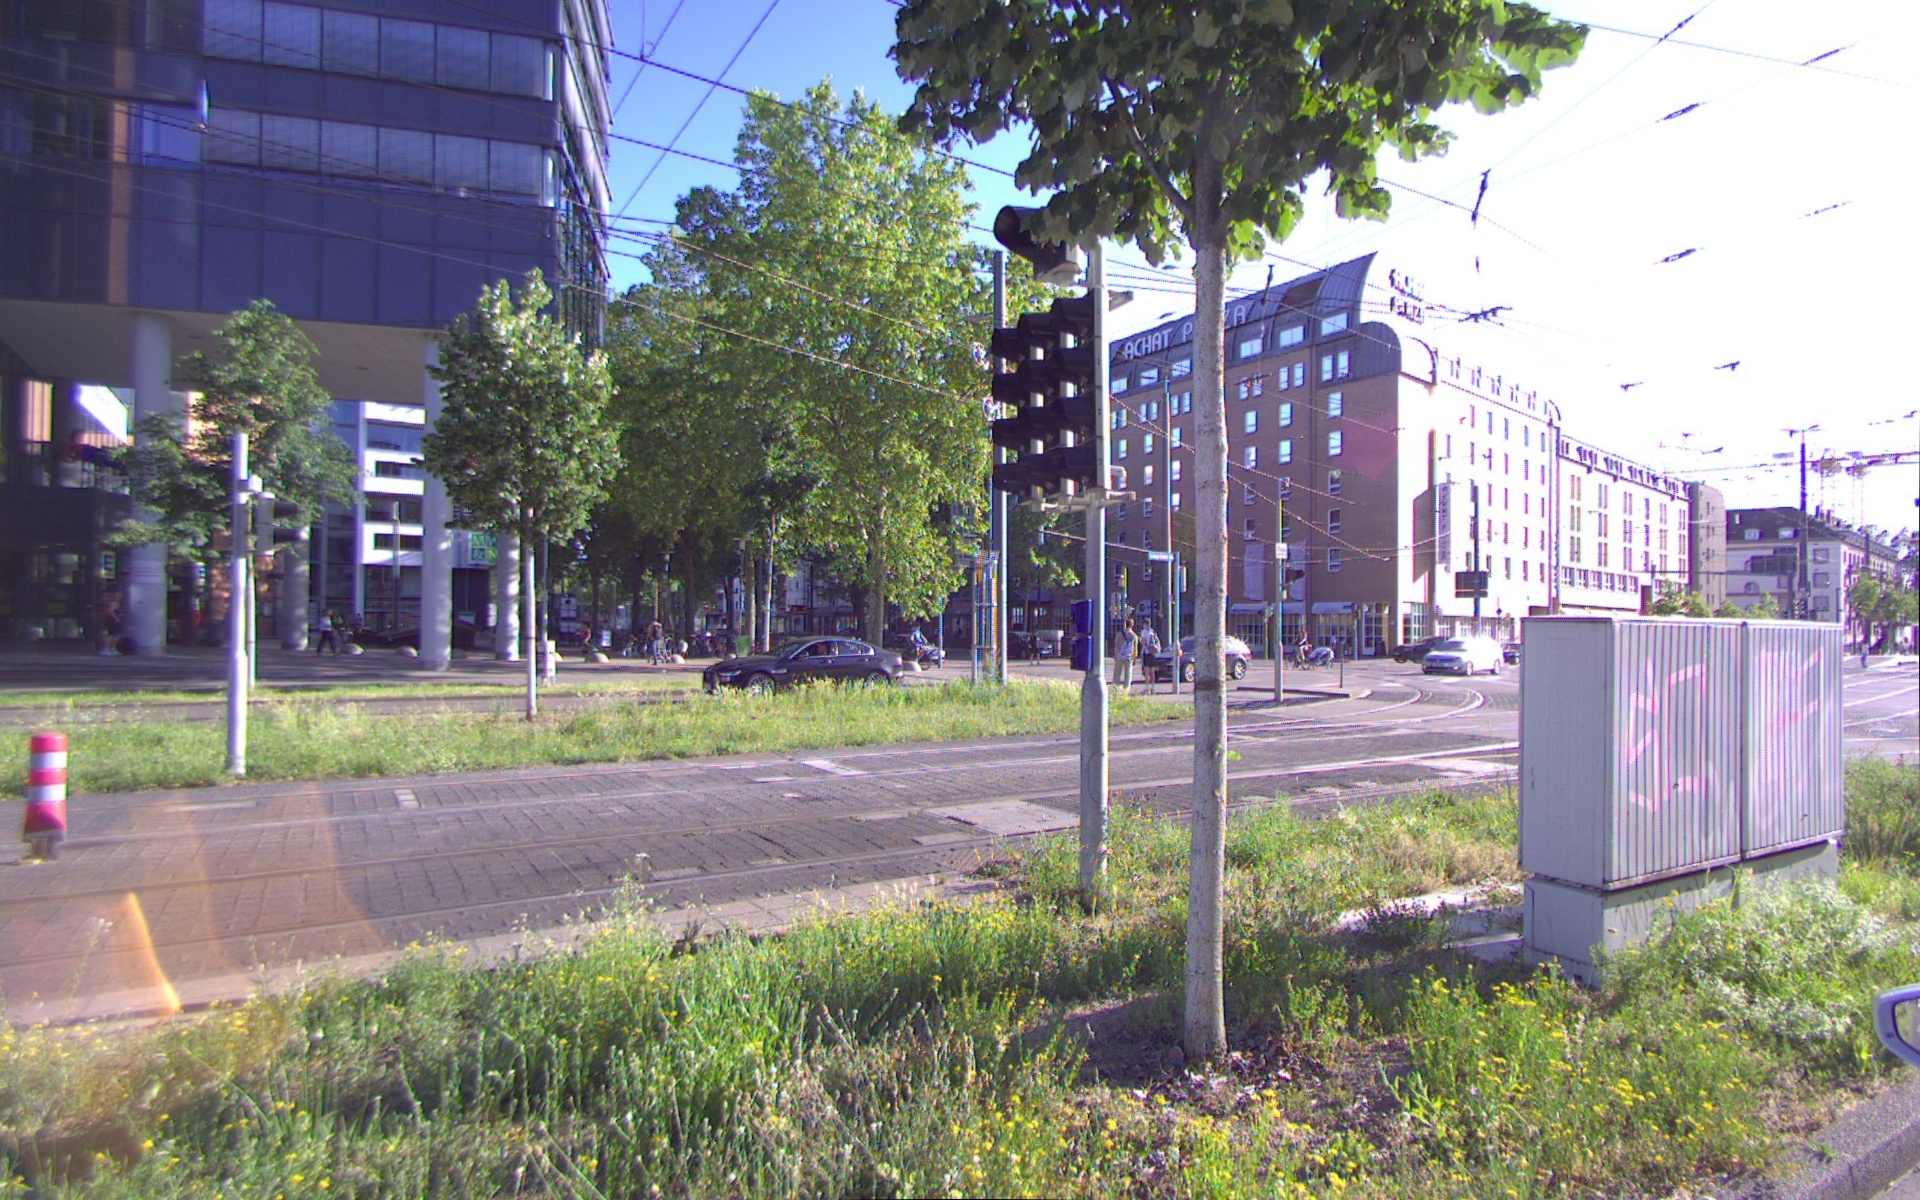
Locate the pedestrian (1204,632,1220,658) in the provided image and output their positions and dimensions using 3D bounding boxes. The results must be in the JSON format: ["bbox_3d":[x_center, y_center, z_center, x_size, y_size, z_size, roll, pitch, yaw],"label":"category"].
[{"bbox_3d":[14.909,2.629,59.318,0.672,1.523,0.651,2,-1,-39],"label":"pedestrian"}]

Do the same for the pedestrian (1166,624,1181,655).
[{"bbox_3d":[13.909,2.558,65.536,0.669,2.040,0.663,1,-1,-29],"label":"pedestrian"}]

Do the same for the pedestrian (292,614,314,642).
[{"bbox_3d":[-36.138,1.523,55.222,0.647,1.500,1.053,1,0,-13],"label":"pedestrian"}]

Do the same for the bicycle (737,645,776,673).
[{"bbox_3d":[-7.493,2.150,36.900,0.538,0.964,1.748,2,-2,-44],"label":"bicycle"}]

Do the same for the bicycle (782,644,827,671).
[{"bbox_3d":[-5.725,2.100,36.890,1.742,0.964,0.540,0,-1,34],"label":"bicycle"}]

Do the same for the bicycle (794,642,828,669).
[{"bbox_3d":[-5.673,2.111,38.198,0.536,0.964,1.753,2,-2,-36],"label":"bicycle"}]

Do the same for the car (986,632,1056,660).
[{"bbox_3d":[3.331,2.519,55.152,1.743,1.439,3.960,2,-2,-35],"label":"car"}]

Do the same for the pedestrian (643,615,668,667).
[{"bbox_3d":[-12.227,1.642,40.368,0.826,2.040,0.730,1,0,-25],"label":"pedestrian"}]

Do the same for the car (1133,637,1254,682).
[{"bbox_3d":[7.921,1.996,33.996,4.104,1.440,1.711,2,-4,-36],"label":"car"}]

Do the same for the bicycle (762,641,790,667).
[{"bbox_3d":[-7.036,2.056,38.462,0.530,0.964,1.772,1,-1,7],"label":"bicycle"}]

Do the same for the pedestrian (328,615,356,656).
[{"bbox_3d":[-26.857,1.539,43.671,0.794,1.730,0.789,1,0,-13],"label":"pedestrian"}]

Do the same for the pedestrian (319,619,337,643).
[{"bbox_3d":[-35.505,1.747,56.437,0.651,1.294,0.636,1,0,-13],"label":"pedestrian"}]

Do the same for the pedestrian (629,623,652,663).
[{"bbox_3d":[-13.460,1.797,42.345,0.826,1.667,0.730,1,-1,-25],"label":"pedestrian"}]

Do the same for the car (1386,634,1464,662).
[{"bbox_3d":[28.004,2.855,60.591,1.748,1.570,3.948,2,-2,-44],"label":"car"}]

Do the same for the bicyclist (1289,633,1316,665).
[{"bbox_3d":[15.202,2.181,44.614,0.942,1.393,0.752,2,-1,-37],"label":"bicyclist"}]

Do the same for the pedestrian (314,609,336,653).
[{"bbox_3d":[-21.848,1.072,34.568,0.566,1.500,0.450,1,0,-30],"label":"pedestrian"}]

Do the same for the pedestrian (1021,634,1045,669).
[{"bbox_3d":[3.464,2.444,47.677,0.832,1.619,0.692,1,0,-33],"label":"pedestrian"}]

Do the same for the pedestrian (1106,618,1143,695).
[{"bbox_3d":[4.035,1.378,24.621,0.656,1.854,0.627,1,-1,-36],"label":"pedestrian"}]

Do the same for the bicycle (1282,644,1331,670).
[{"bbox_3d":[15.457,2.524,44.759,2.900,1.099,0.645,2,-2,-38],"label":"bicycle"}]

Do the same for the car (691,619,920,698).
[{"bbox_3d":[-3.417,1.257,22.500,4.686,1.617,1.983,2,-2,-32],"label":"car"}]

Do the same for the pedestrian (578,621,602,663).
[{"bbox_3d":[-14.476,1.648,39.294,0.826,1.619,0.730,1,0,-25],"label":"pedestrian"}]

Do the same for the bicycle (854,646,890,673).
[{"bbox_3d":[-3.356,2.233,38.074,0.536,0.964,1.753,2,-2,-36],"label":"bicycle"}]

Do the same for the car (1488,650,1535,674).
[{"bbox_3d":[35.436,3.954,64.474,1.735,1.407,3.977,-1,-2,43],"label":"car"}]

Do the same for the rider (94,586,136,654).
[{"bbox_3d":[-22.927,0.546,27.266,0.704,1.826,0.715,1,-1,-29],"label":"rider"}]

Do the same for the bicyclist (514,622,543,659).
[{"bbox_3d":[-17.878,1.673,41.629,1.000,1.484,0.678,0,-2,36],"label":"bicyclist"}]

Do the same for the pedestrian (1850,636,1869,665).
[{"bbox_3d":[51.888,2.922,57.940,0.739,1.662,0.758,2,-2,-44],"label":"pedestrian"}]

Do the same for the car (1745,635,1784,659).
[{"bbox_3d":[53.367,3.097,66.624,1.726,1.524,3.858,-1,-2,43],"label":"car"}]

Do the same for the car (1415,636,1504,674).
[{"bbox_3d":[20.397,2.229,40.937,3.960,1.468,1.563,2,-2,-35],"label":"car"}]

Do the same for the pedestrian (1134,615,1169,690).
[{"bbox_3d":[4.771,1.304,25.033,0.656,1.841,0.559,1,-1,-36],"label":"pedestrian"}]

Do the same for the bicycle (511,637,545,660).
[{"bbox_3d":[-17.912,1.990,41.651,1.859,0.922,0.497,-1,-2,39],"label":"bicycle"}]

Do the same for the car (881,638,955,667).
[{"bbox_3d":[-2.103,2.537,48.881,1.977,1.283,3.968,1,-2,-30],"label":"car"}]
